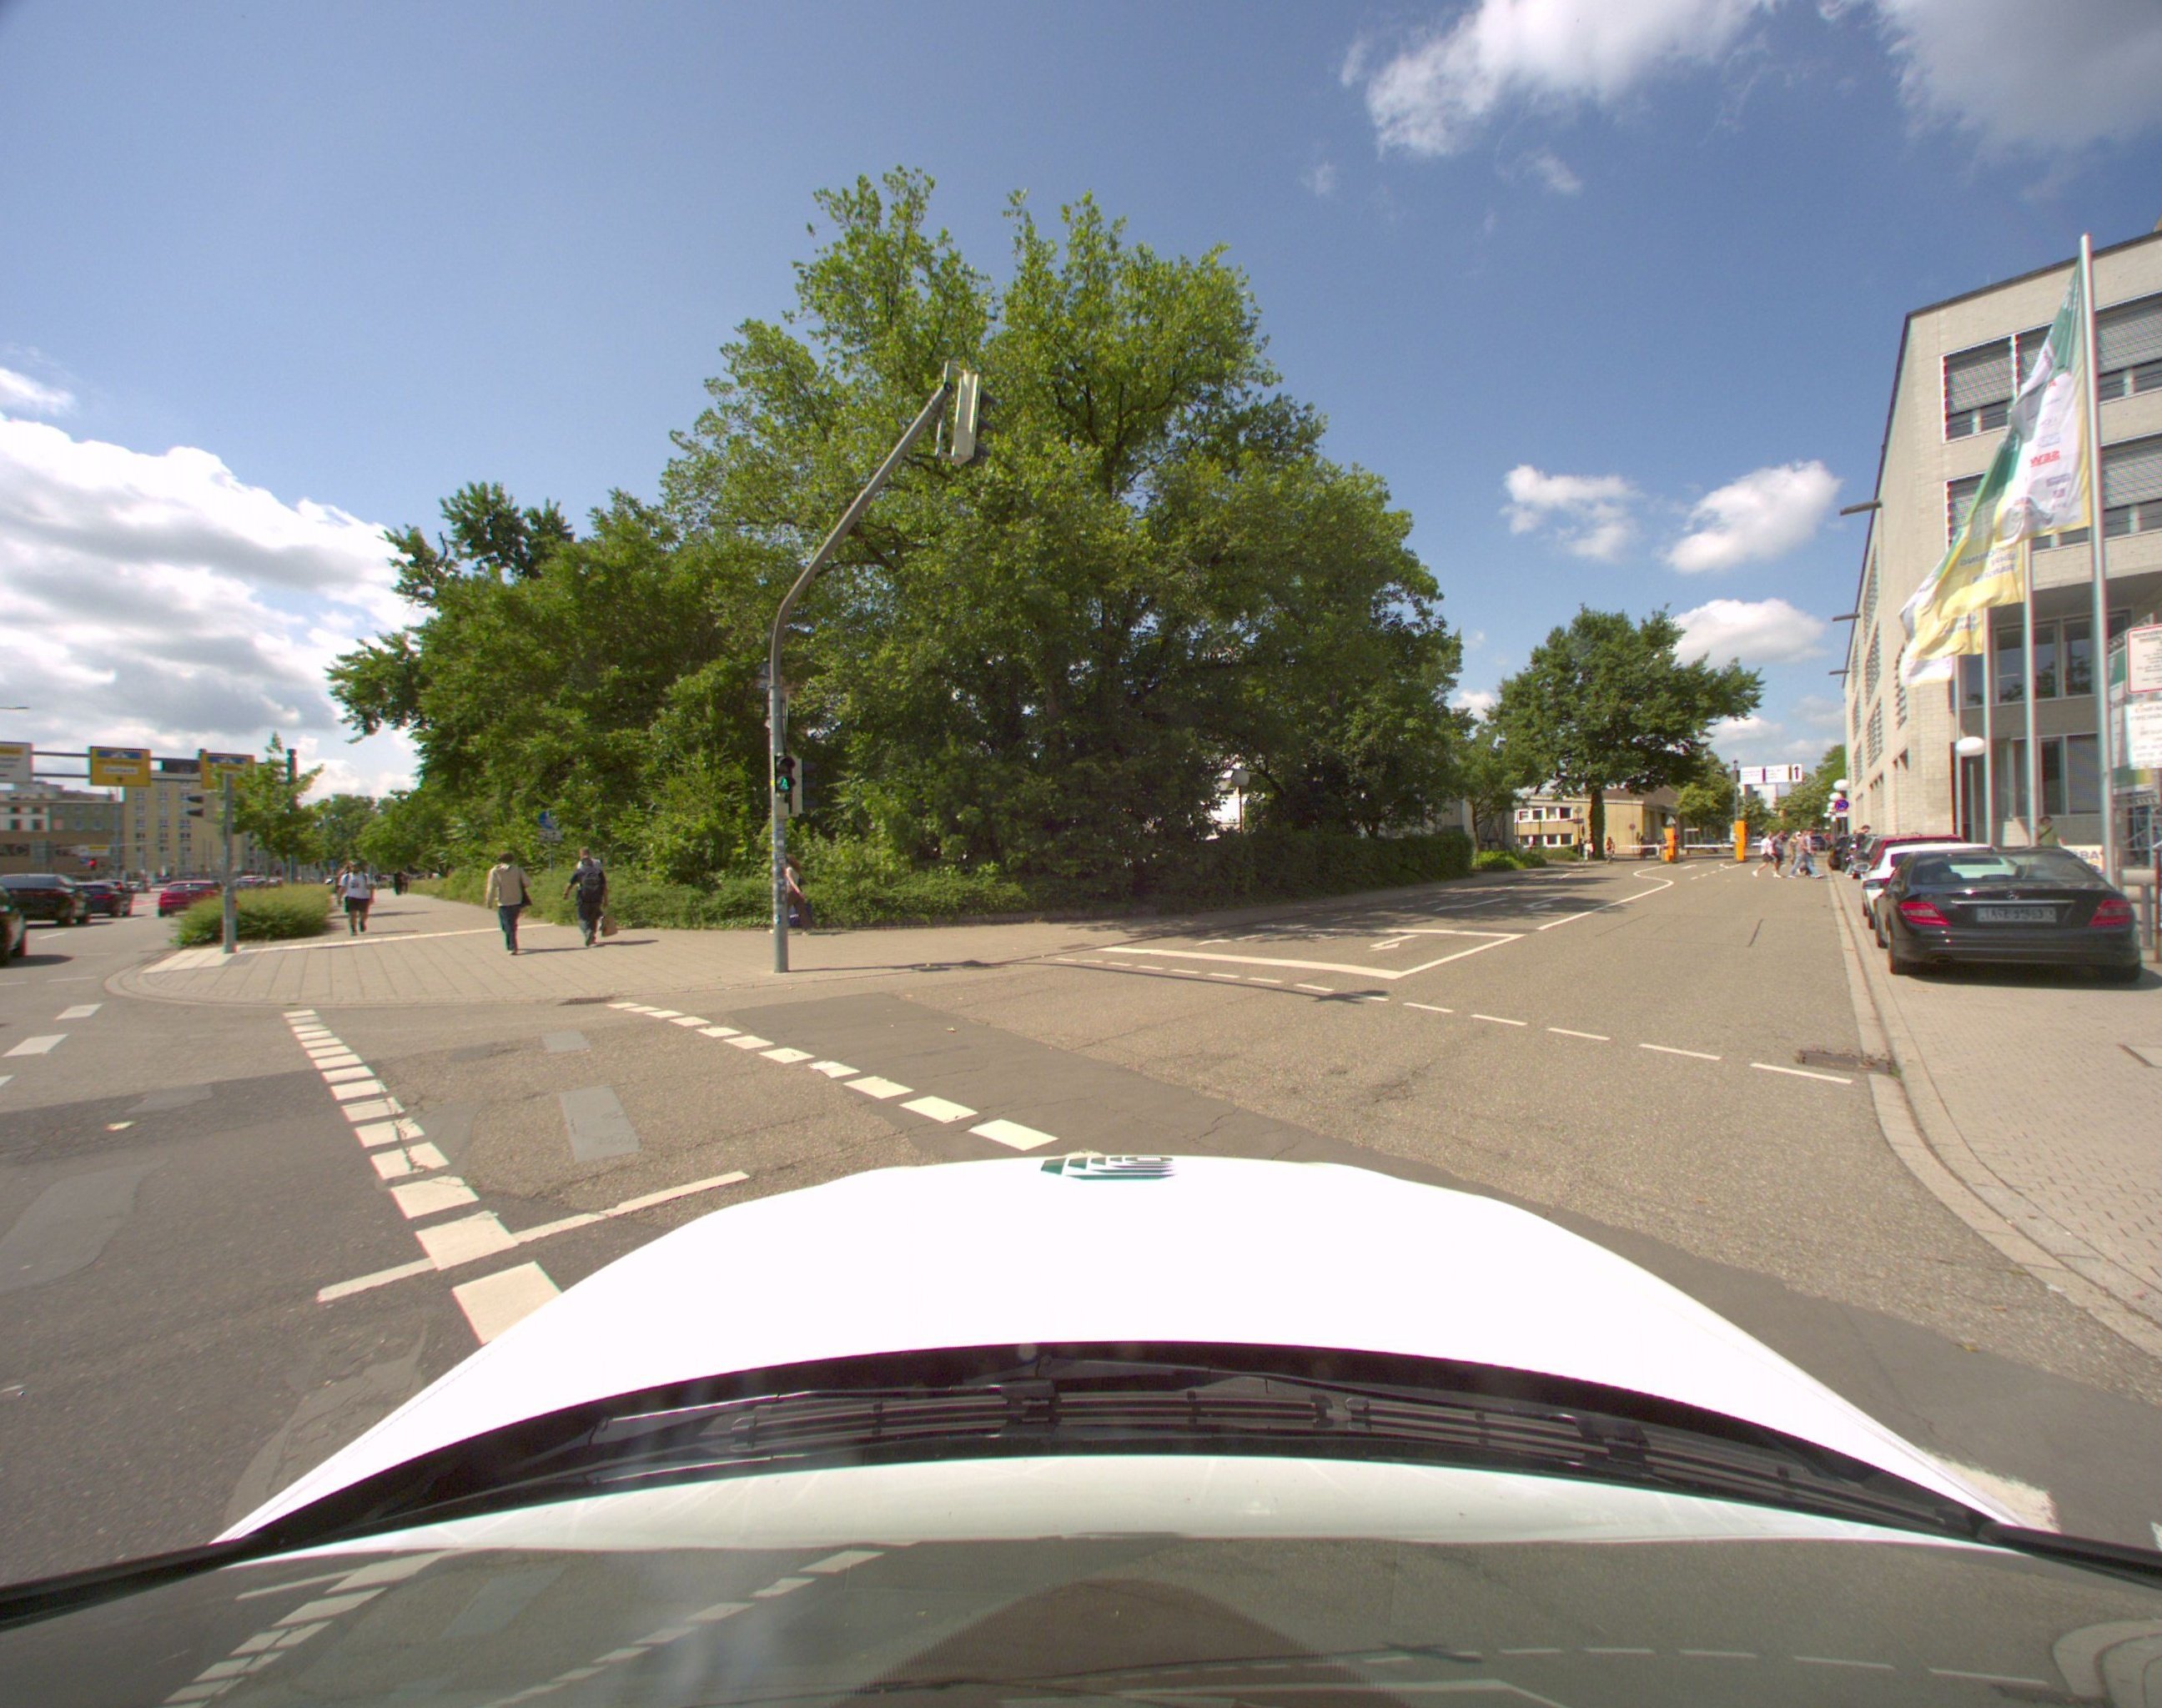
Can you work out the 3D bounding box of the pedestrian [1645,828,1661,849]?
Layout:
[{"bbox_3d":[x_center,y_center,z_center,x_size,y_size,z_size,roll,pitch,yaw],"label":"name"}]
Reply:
[{"bbox_3d":[50.353,-1.347,71.686,1.046,1.816,0.811,-2,0,41],"label":"pedestrian"}]

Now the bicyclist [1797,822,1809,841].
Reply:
[{"bbox_3d":[84.235,-2.579,94.970,0.978,2.132,1.043,-2,-2,42],"label":"bicyclist"}]

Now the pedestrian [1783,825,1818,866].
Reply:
[{"bbox_3d":[30.901,-0.378,34.998,0.619,1.717,1.043,-2,-1,10],"label":"pedestrian"}]

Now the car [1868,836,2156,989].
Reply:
[{"bbox_3d":[10.960,0.550,9.965,1.702,1.400,4.979,-5,-2,43],"label":"car"}]

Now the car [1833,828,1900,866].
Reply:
[{"bbox_3d":[32.990,-0.318,34.308,1.848,1.464,4.548,-2,0,42],"label":"car"}]

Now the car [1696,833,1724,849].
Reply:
[{"bbox_3d":[67.353,-1.414,87.153,1.975,1.545,4.237,-2,0,43],"label":"car"}]

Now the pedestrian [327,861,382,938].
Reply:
[{"bbox_3d":[-16.959,1.043,19.013,0.859,1.700,0.920,-3,0,-44],"label":"pedestrian"}]

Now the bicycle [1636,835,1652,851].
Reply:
[{"bbox_3d":[43.258,-0.849,62.577,0.686,1.171,2.223,-2,-1,42],"label":"bicycle"}]

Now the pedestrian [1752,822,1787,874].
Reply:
[{"bbox_3d":[25.741,-0.225,30.452,0.594,1.925,0.779,-2,0,-25],"label":"pedestrian"}]

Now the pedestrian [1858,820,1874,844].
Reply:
[{"bbox_3d":[59.136,-1.651,61.362,0.759,1.781,0.916,-4,-1,41],"label":"pedestrian"}]

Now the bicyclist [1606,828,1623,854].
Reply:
[{"bbox_3d":[33.295,-0.822,50.804,0.686,1.548,1.025,-2,-1,42],"label":"bicyclist"}]

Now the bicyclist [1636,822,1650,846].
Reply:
[{"bbox_3d":[43.022,-1.529,62.363,0.686,1.736,0.924,-2,-1,42],"label":"bicyclist"}]

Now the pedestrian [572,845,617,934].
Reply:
[{"bbox_3d":[-10.327,0.732,17.293,0.676,1.821,0.695,-1,0,-42],"label":"pedestrian"}]

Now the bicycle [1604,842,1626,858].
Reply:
[{"bbox_3d":[33.310,-0.262,50.814,0.785,0.989,2.223,-2,-1,42],"label":"bicycle"}]

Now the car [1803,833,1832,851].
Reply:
[{"bbox_3d":[68.726,-1.112,75.965,1.975,1.546,4.237,-2,0,43],"label":"car"}]

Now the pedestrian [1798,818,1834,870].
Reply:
[{"bbox_3d":[27.276,-0.369,30.230,0.752,1.925,0.720,-2,0,-24],"label":"pedestrian"}]

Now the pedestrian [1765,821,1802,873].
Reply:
[{"bbox_3d":[26.468,-0.263,30.685,0.736,1.925,0.778,-2,0,-25],"label":"pedestrian"}]

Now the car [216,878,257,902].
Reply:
[{"bbox_3d":[-51.819,2.161,50.027,1.626,1.411,3.473,1,-2,-44],"label":"car"}]

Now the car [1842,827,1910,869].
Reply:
[{"bbox_3d":[30.051,-0.245,30.872,1.599,1.496,4.031,-2,0,41],"label":"car"}]

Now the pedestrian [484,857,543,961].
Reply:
[{"bbox_3d":[-9.844,0.910,14.123,0.801,1.704,1.169,0,0,-37],"label":"pedestrian"}]

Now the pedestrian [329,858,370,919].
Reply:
[{"bbox_3d":[-22.921,1.067,25.523,1.006,1.868,0.846,-2,-1,44],"label":"pedestrian"}]

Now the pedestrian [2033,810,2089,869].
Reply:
[{"bbox_3d":[29.653,-0.430,24.671,0.909,1.740,1.008,-2,0,43],"label":"pedestrian"}]

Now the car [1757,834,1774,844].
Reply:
[{"bbox_3d":[120.369,-2.662,143.213,1.975,1.545,4.237,-2,0,43],"label":"car"}]

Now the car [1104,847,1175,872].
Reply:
[{"bbox_3d":[4.094,0.409,57.657,4.875,1.654,2.012,-2,1,45],"label":"car"}]

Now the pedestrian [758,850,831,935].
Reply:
[{"bbox_3d":[-5.749,0.745,16.385,1.008,1.626,0.862,-1,2,19],"label":"pedestrian"}]

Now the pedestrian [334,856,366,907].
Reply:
[{"bbox_3d":[-28.853,1.072,32.138,0.850,1.969,0.846,-2,-1,44],"label":"pedestrian"}]

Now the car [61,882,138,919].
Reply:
[{"bbox_3d":[-39.745,1.858,33.053,1.626,1.325,3.473,-1,0,-44],"label":"car"}]

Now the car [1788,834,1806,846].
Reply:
[{"bbox_3d":[118.798,-2.338,135.145,1.975,1.720,4.023,-3,-2,45],"label":"car"}]

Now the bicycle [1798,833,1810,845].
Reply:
[{"bbox_3d":[84.054,-1.766,94.660,0.978,1.316,2.982,-2,-2,42],"label":"bicycle"}]

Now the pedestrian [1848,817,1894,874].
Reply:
[{"bbox_3d":[27.534,-0.296,28.402,1.084,1.920,1.027,-2,0,43],"label":"pedestrian"}]

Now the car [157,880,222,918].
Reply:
[{"bbox_3d":[-36.739,1.820,33.620,1.626,1.411,3.473,0,-1,-44],"label":"car"}]

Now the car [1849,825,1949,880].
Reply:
[{"bbox_3d":[25.808,-0.068,25.826,1.702,1.529,4.595,-4,-1,39],"label":"car"}]

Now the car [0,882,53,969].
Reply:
[{"bbox_3d":[-20.675,1.301,15.084,1.626,1.485,3.473,-1,0,-45],"label":"car"}]

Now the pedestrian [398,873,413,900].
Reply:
[{"bbox_3d":[-46.472,2.240,56.029,0.554,1.891,0.505,-1,-2,15],"label":"pedestrian"}]

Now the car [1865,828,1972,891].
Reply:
[{"bbox_3d":[22.028,0.116,21.552,1.703,1.529,4.024,-3,-1,43],"label":"car"}]

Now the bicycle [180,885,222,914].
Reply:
[{"bbox_3d":[-64.813,3.312,60.047,3.949,2.014,2.012,-2,-2,44],"label":"bicycle"}]

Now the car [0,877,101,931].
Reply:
[{"bbox_3d":[-33.950,1.585,26.710,1.843,1.601,4.339,0,-1,-44],"label":"car"}]

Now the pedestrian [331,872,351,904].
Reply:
[{"bbox_3d":[-46.710,2.109,51.394,0.850,1.969,0.846,-2,-1,44],"label":"pedestrian"}]

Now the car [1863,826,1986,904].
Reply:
[{"bbox_3d":[18.554,0.196,18.060,1.599,1.496,4.172,-5,-2,43],"label":"car"}]

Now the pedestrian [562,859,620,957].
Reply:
[{"bbox_3d":[-9.058,0.956,15.033,0.801,1.704,1.169,0,0,-37],"label":"pedestrian"}]

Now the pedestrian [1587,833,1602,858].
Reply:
[{"bbox_3d":[34.926,-0.592,55.427,0.706,1.627,0.889,-2,0,41],"label":"pedestrian"}]

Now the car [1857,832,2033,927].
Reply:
[{"bbox_3d":[14.866,0.383,14.241,1.702,1.400,4.466,-5,-3,43],"label":"car"}]
